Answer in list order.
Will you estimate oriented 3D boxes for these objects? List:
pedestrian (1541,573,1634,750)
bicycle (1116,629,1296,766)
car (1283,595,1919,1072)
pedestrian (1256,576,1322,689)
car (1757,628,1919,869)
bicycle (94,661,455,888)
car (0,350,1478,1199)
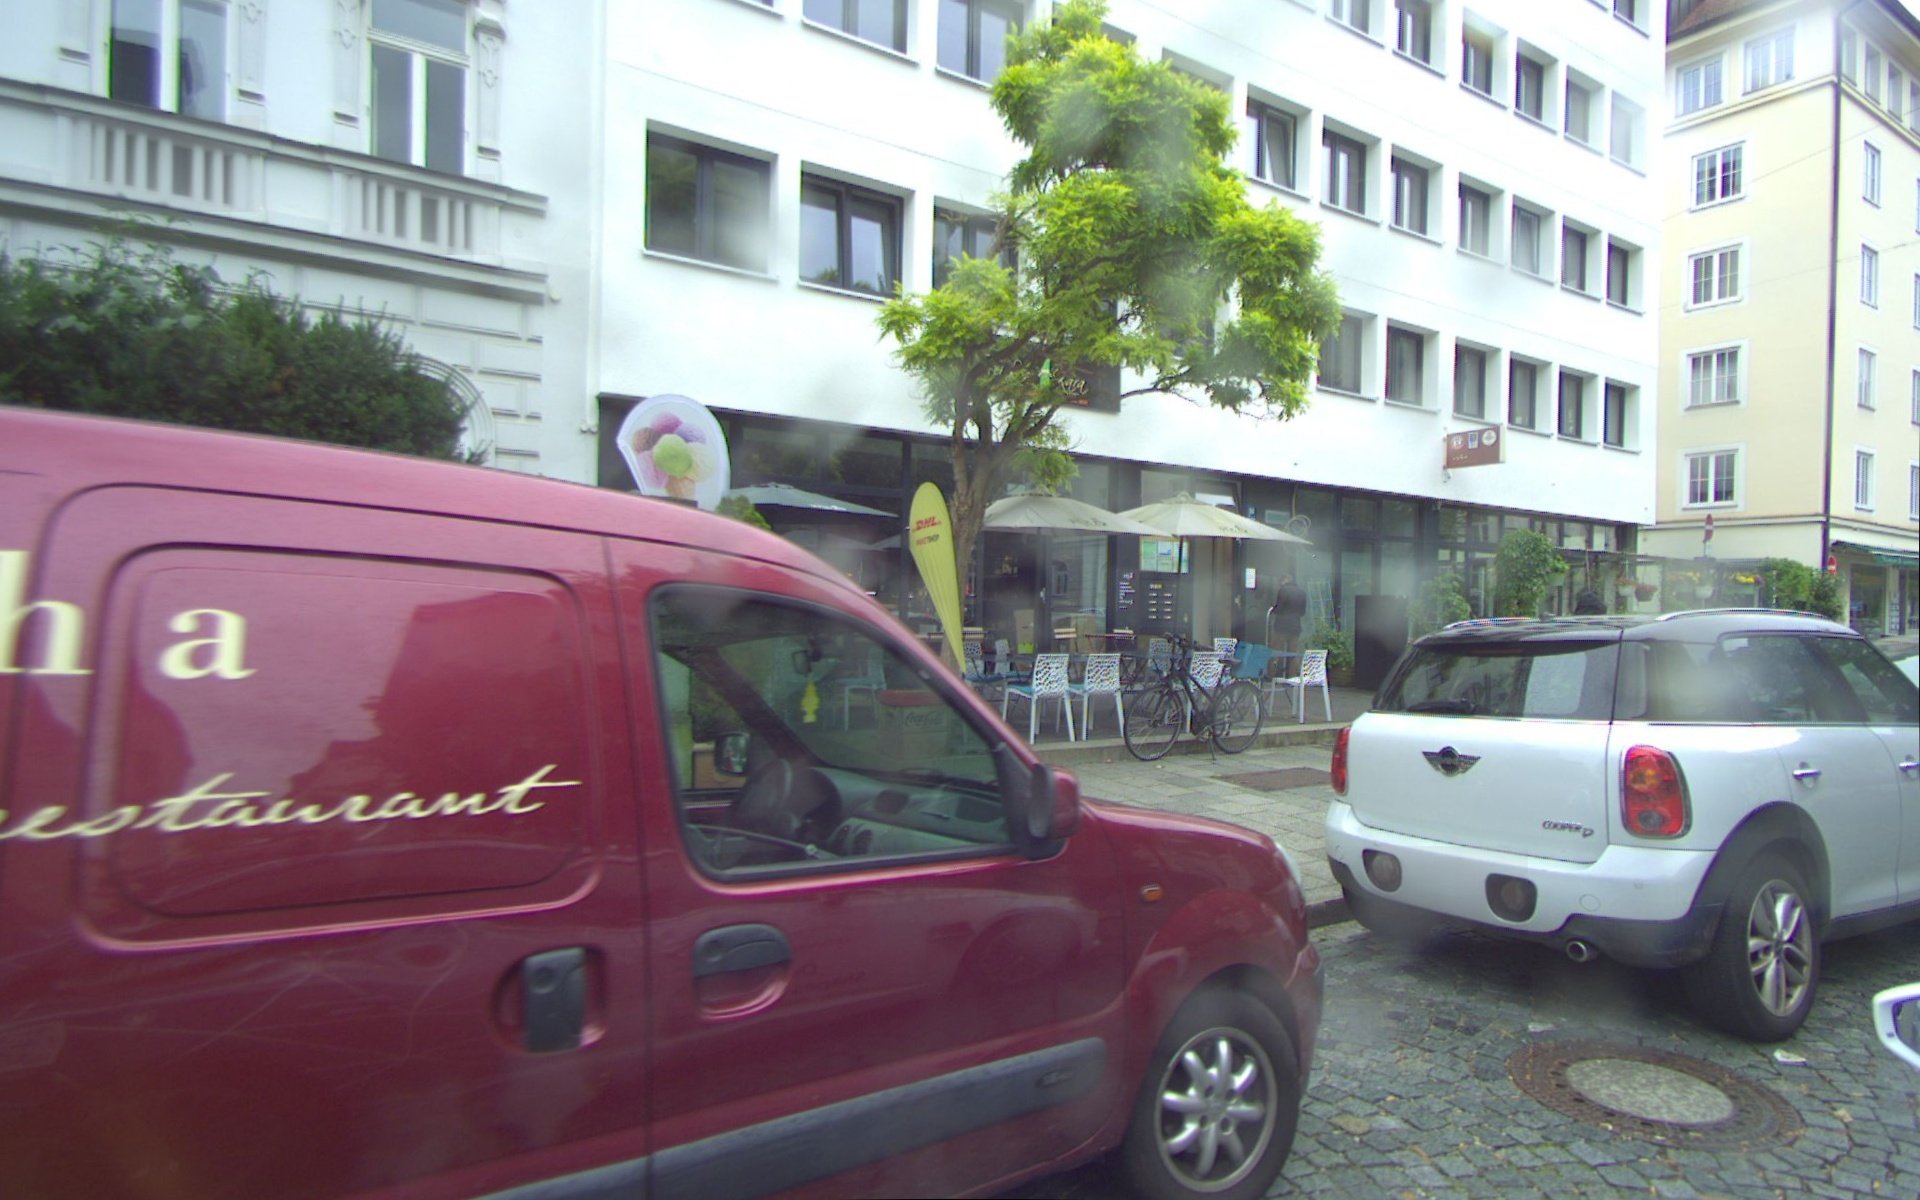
[{"bbox_3d":[6.902,0.656,11.052,0.806,1.865,0.609,1,0,-38],"label":"pedestrian"},{"bbox_3d":[2.344,0.885,9.460,1.888,1.190,0.359,2,0,-30],"label":"bicycle"},{"bbox_3d":[3.559,0.791,4.867,3.731,1.524,1.686,2,0,-29],"label":"car"},{"bbox_3d":[5.051,0.477,15.440,0.774,1.683,0.553,-1,3,-29],"label":"pedestrian"},{"bbox_3d":[7.828,0.956,7.311,4.421,1.484,1.717,1,-3,-31],"label":"car"},{"bbox_3d":[-3.825,0.931,5.735,1.669,1.093,0.255,0,1,-36],"label":"bicycle"},{"bbox_3d":[-0.715,0.631,2.346,3.855,1.746,1.709,2,-2,-32],"label":"car"}]
